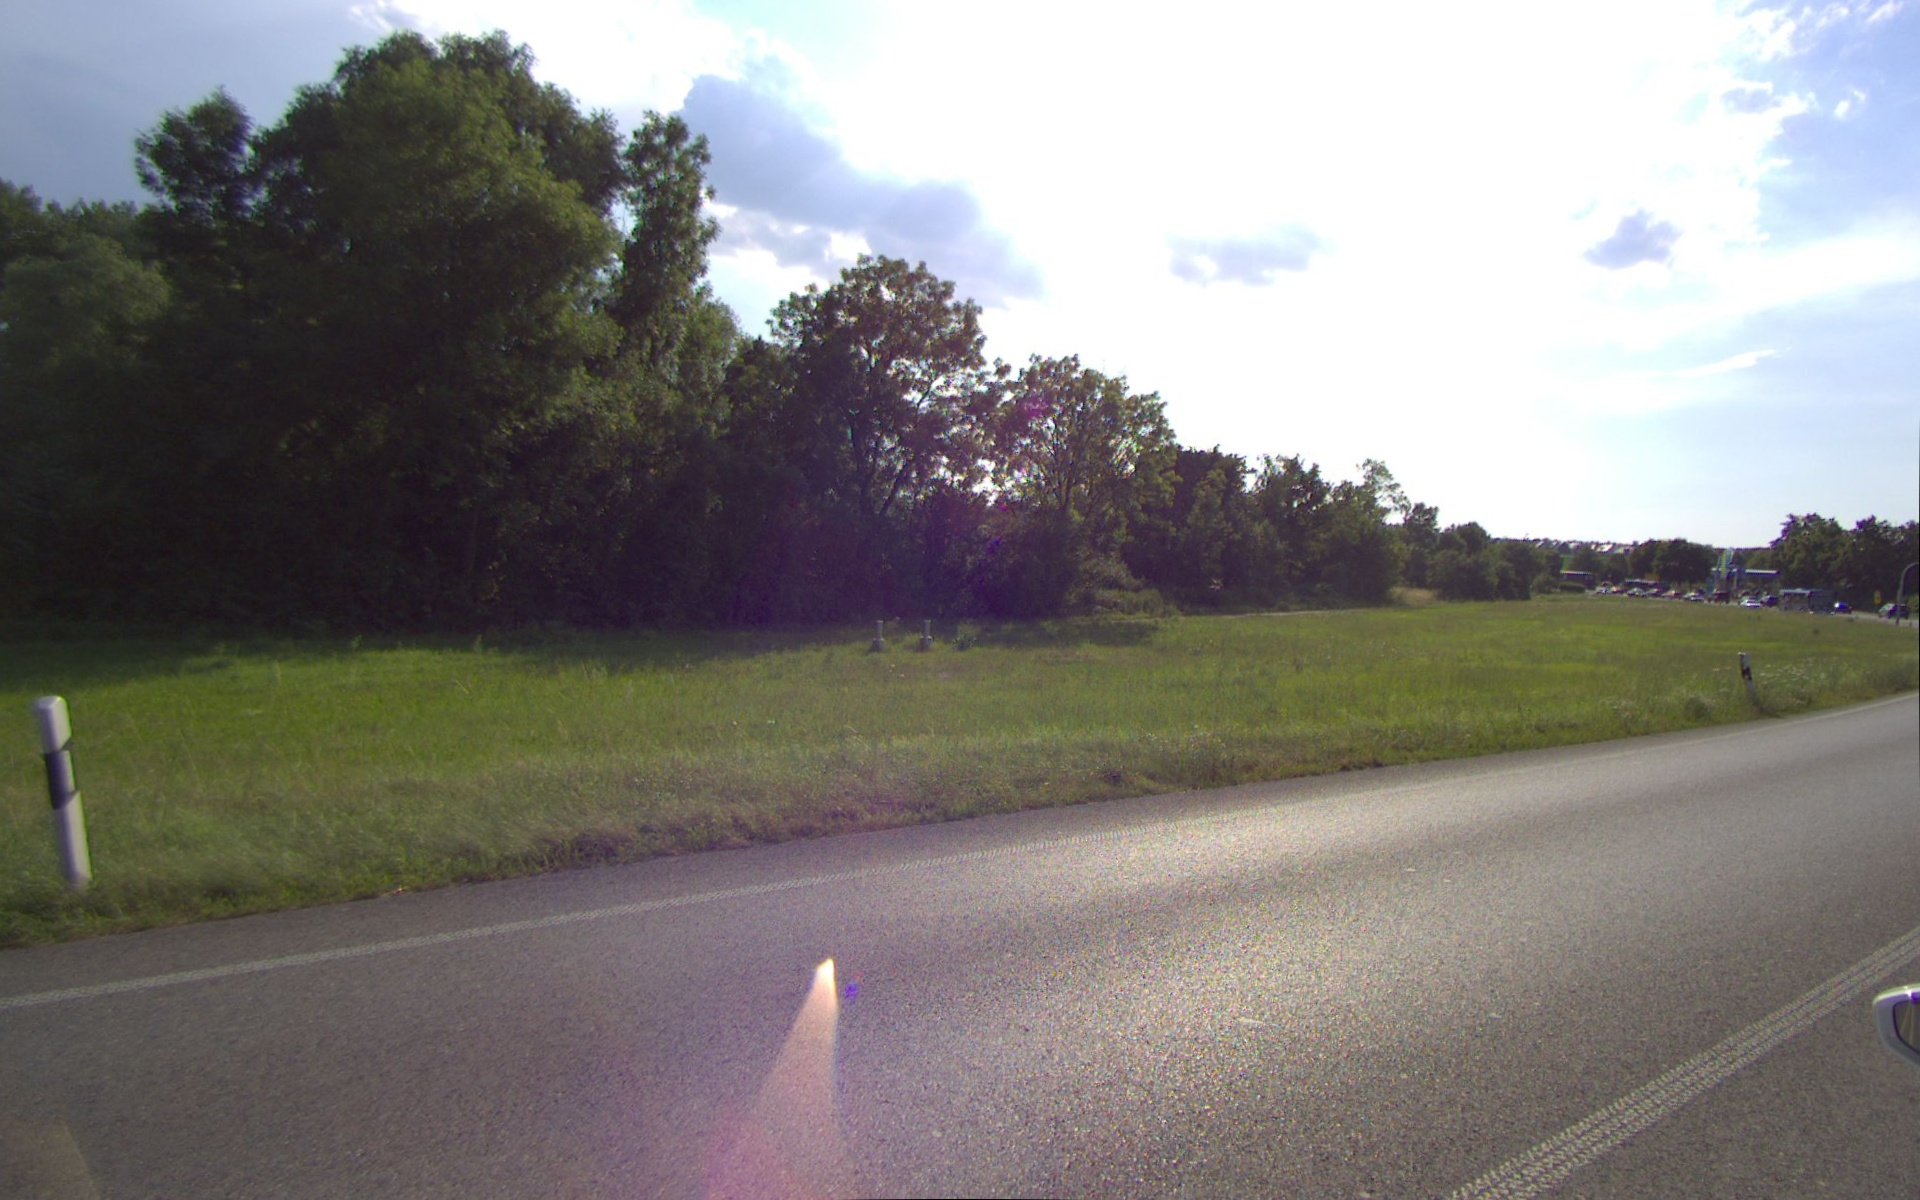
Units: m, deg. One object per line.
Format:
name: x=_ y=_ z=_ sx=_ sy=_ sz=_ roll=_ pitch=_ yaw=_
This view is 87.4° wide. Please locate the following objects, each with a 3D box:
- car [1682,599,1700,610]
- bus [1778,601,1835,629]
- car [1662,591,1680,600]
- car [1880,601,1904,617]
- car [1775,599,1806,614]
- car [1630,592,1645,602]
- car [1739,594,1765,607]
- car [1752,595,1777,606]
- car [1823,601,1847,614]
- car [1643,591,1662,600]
car: x=121.817 y=0.743 z=167.394 sx=1.813 sy=1.678 sz=3.995 roll=2 pitch=0 yaw=27
bus: x=102.829 y=1.816 z=122.260 sx=2.752 sy=3.224 sz=12.108 roll=2 pitch=0 yaw=28
car: x=134.539 y=-0.828 z=190.097 sx=1.851 sy=1.621 sz=3.998 roll=2 pitch=1 yaw=23
car: x=108.149 y=1.072 z=116.570 sx=1.499 sy=1.678 sz=3.860 roll=2 pitch=0 yaw=35
car: x=95.302 y=0.779 z=115.289 sx=1.813 sy=1.678 sz=3.995 roll=2 pitch=0 yaw=27
car: x=127.297 y=-0.528 z=188.824 sx=1.813 sy=1.678 sz=3.995 roll=2 pitch=0 yaw=27
car: x=112.837 y=0.050 z=143.171 sx=1.811 sy=1.678 sz=3.999 roll=2 pitch=0 yaw=22
car: x=123.510 y=0.014 z=154.292 sx=2.053 sy=1.621 sz=3.996 roll=2 pitch=1 yaw=26
car: x=116.300 y=1.001 z=133.556 sx=1.654 sy=1.579 sz=3.865 roll=2 pitch=0 yaw=30
car: x=135.425 y=-0.906 z=196.420 sx=1.850 sy=1.621 sz=4.000 roll=2 pitch=1 yaw=18
